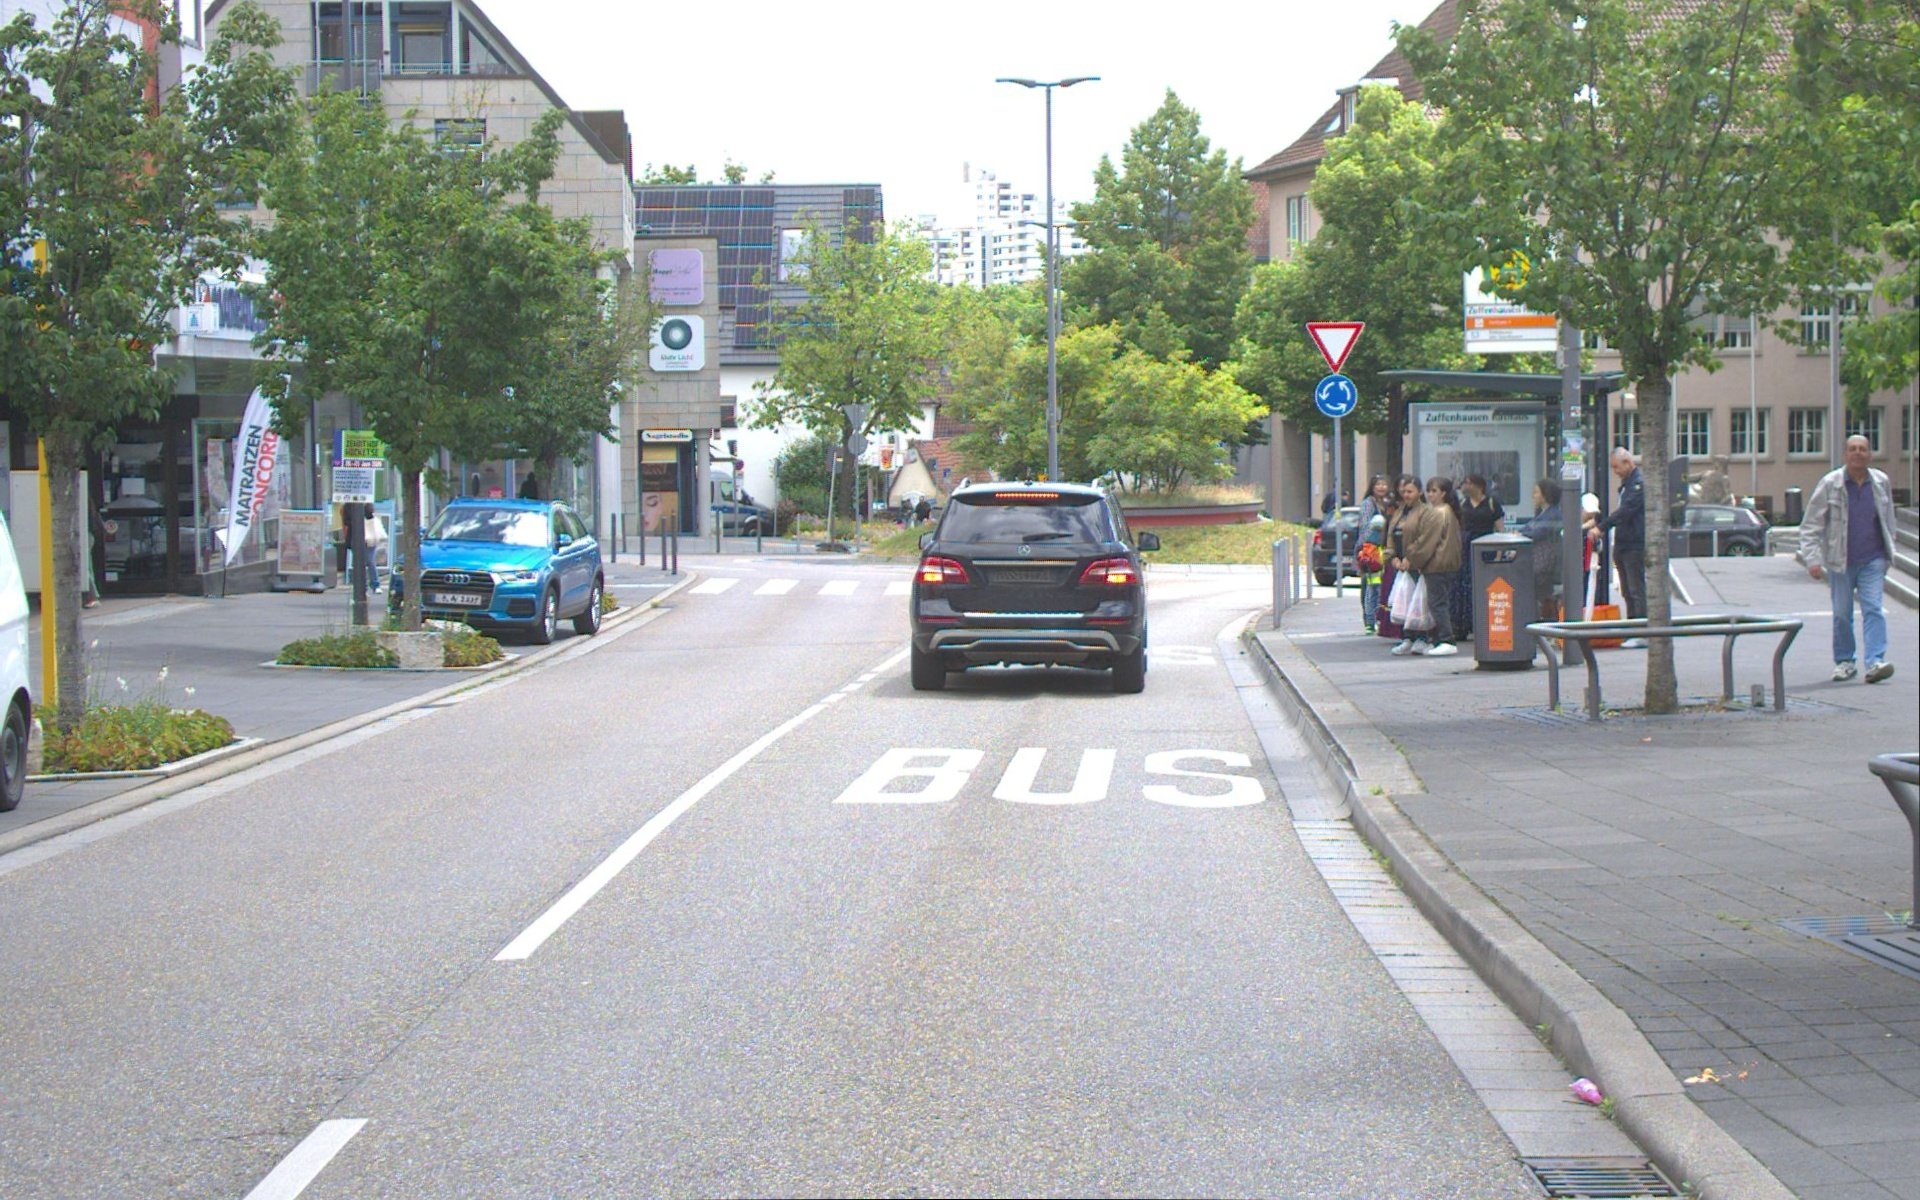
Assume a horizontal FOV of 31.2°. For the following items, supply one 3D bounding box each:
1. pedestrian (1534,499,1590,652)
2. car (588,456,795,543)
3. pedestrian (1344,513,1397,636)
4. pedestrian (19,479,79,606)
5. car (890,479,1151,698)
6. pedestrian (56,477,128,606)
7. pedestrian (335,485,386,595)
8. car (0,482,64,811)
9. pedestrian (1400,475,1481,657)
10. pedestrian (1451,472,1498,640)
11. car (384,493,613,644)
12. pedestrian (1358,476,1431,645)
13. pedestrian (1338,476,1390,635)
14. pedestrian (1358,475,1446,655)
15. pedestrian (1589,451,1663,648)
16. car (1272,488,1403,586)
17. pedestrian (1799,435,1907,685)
[{"bbox_3d":[5.204,-0.213,29.711,0.389,1.301,0.355,-3,1,4],"label":"pedestrian"},{"bbox_3d":[-8.696,-3.225,111.310,6.283,2.551,2.207,1,-1,-18],"label":"car"},{"bbox_3d":[4.144,-0.259,34.715,0.403,1.222,0.387,-1,2,25],"label":"pedestrian"},{"bbox_3d":[-11.383,-0.718,42.969,0.510,1.561,0.586,-2,2,3],"label":"pedestrian"},{"bbox_3d":[0.600,-0.082,29.515,2.027,1.721,4.432,0,0,4],"label":"car"},{"bbox_3d":[-10.690,-0.728,42.351,0.643,1.561,0.586,-2,2,6],"label":"pedestrian"},{"bbox_3d":[-8.700,-0.870,49.906,0.587,1.582,0.638,1,1,4],"label":"pedestrian"},{"bbox_3d":[-5.670,0.248,16.544,1.656,1.666,4.351,1,1,-1],"label":"car"},{"bbox_3d":[4.140,-0.294,29.612,0.513,1.544,0.486,-1,2,29],"label":"pedestrian"},{"bbox_3d":[4.833,-0.412,32.302,0.393,1.560,0.352,-1,2,6],"label":"pedestrian"},{"bbox_3d":[-5.288,-0.406,39.905,1.694,1.594,4.331,2,2,5],"label":"car"},{"bbox_3d":[4.078,-0.375,32.271,0.500,1.560,0.498,-2,2,-15],"label":"pedestrian"},{"bbox_3d":[4.148,-0.461,35.296,0.387,1.614,0.469,-2,1,18],"label":"pedestrian"},{"bbox_3d":[3.862,-0.310,30.052,0.485,1.544,0.543,-3,2,-43],"label":"pedestrian"},{"bbox_3d":[5.740,-0.438,29.637,0.511,1.674,0.576,-1,2,2],"label":"pedestrian"},{"bbox_3d":[6.653,-1.117,60.215,2.053,1.582,4.372,3,2,8],"label":"car"},{"bbox_3d":[6.103,-0.277,23.529,0.685,1.676,0.714,-1,1,13],"label":"pedestrian"}]
